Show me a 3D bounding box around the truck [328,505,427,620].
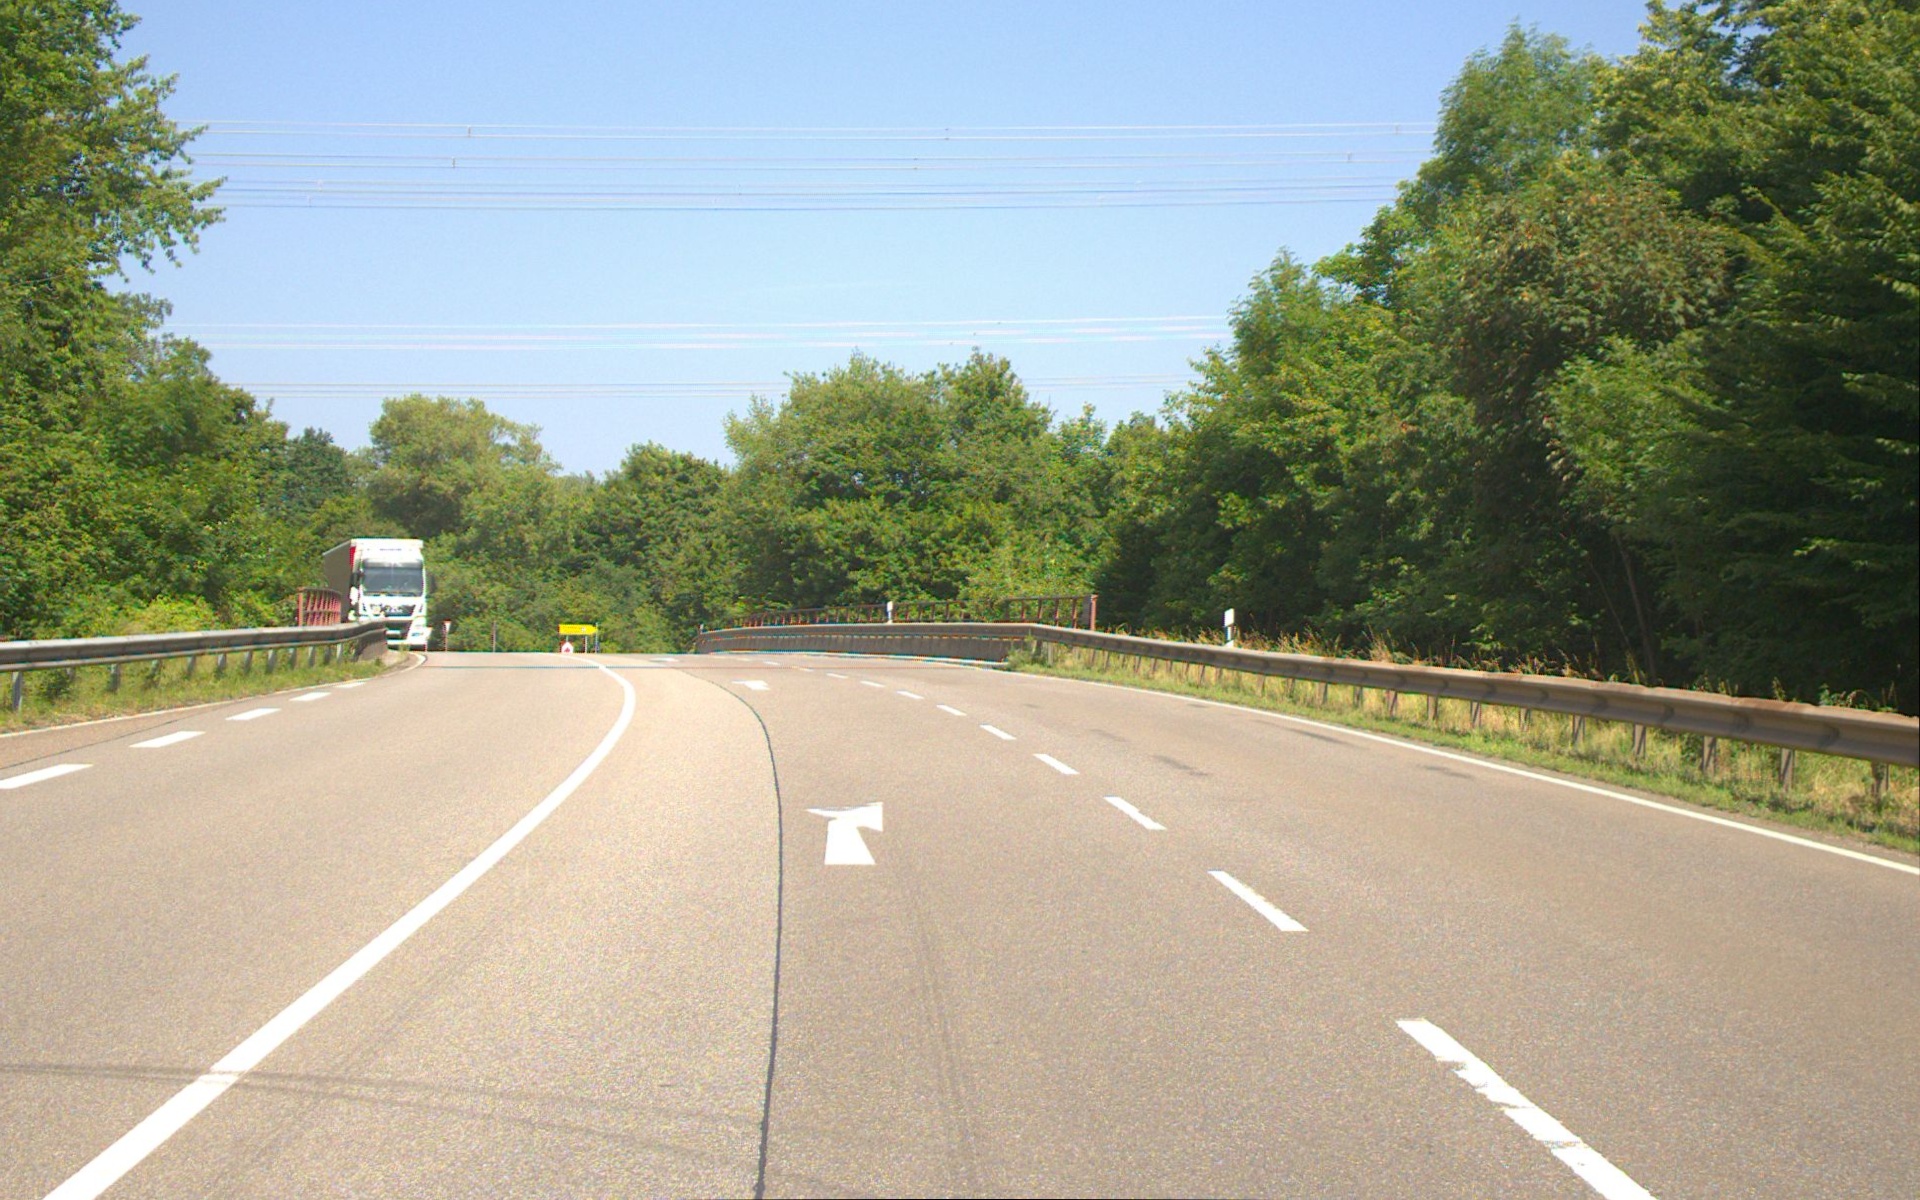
[{"bbox_3d":[-21.229,-1.310,125.093,2.768,4.020,5.857,0,-1,-17],"label":"truck"}]

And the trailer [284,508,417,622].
[{"bbox_3d":[-23.419,-1.212,131.457,2.767,4.048,14.203,0,-1,-19],"label":"trailer"}]
